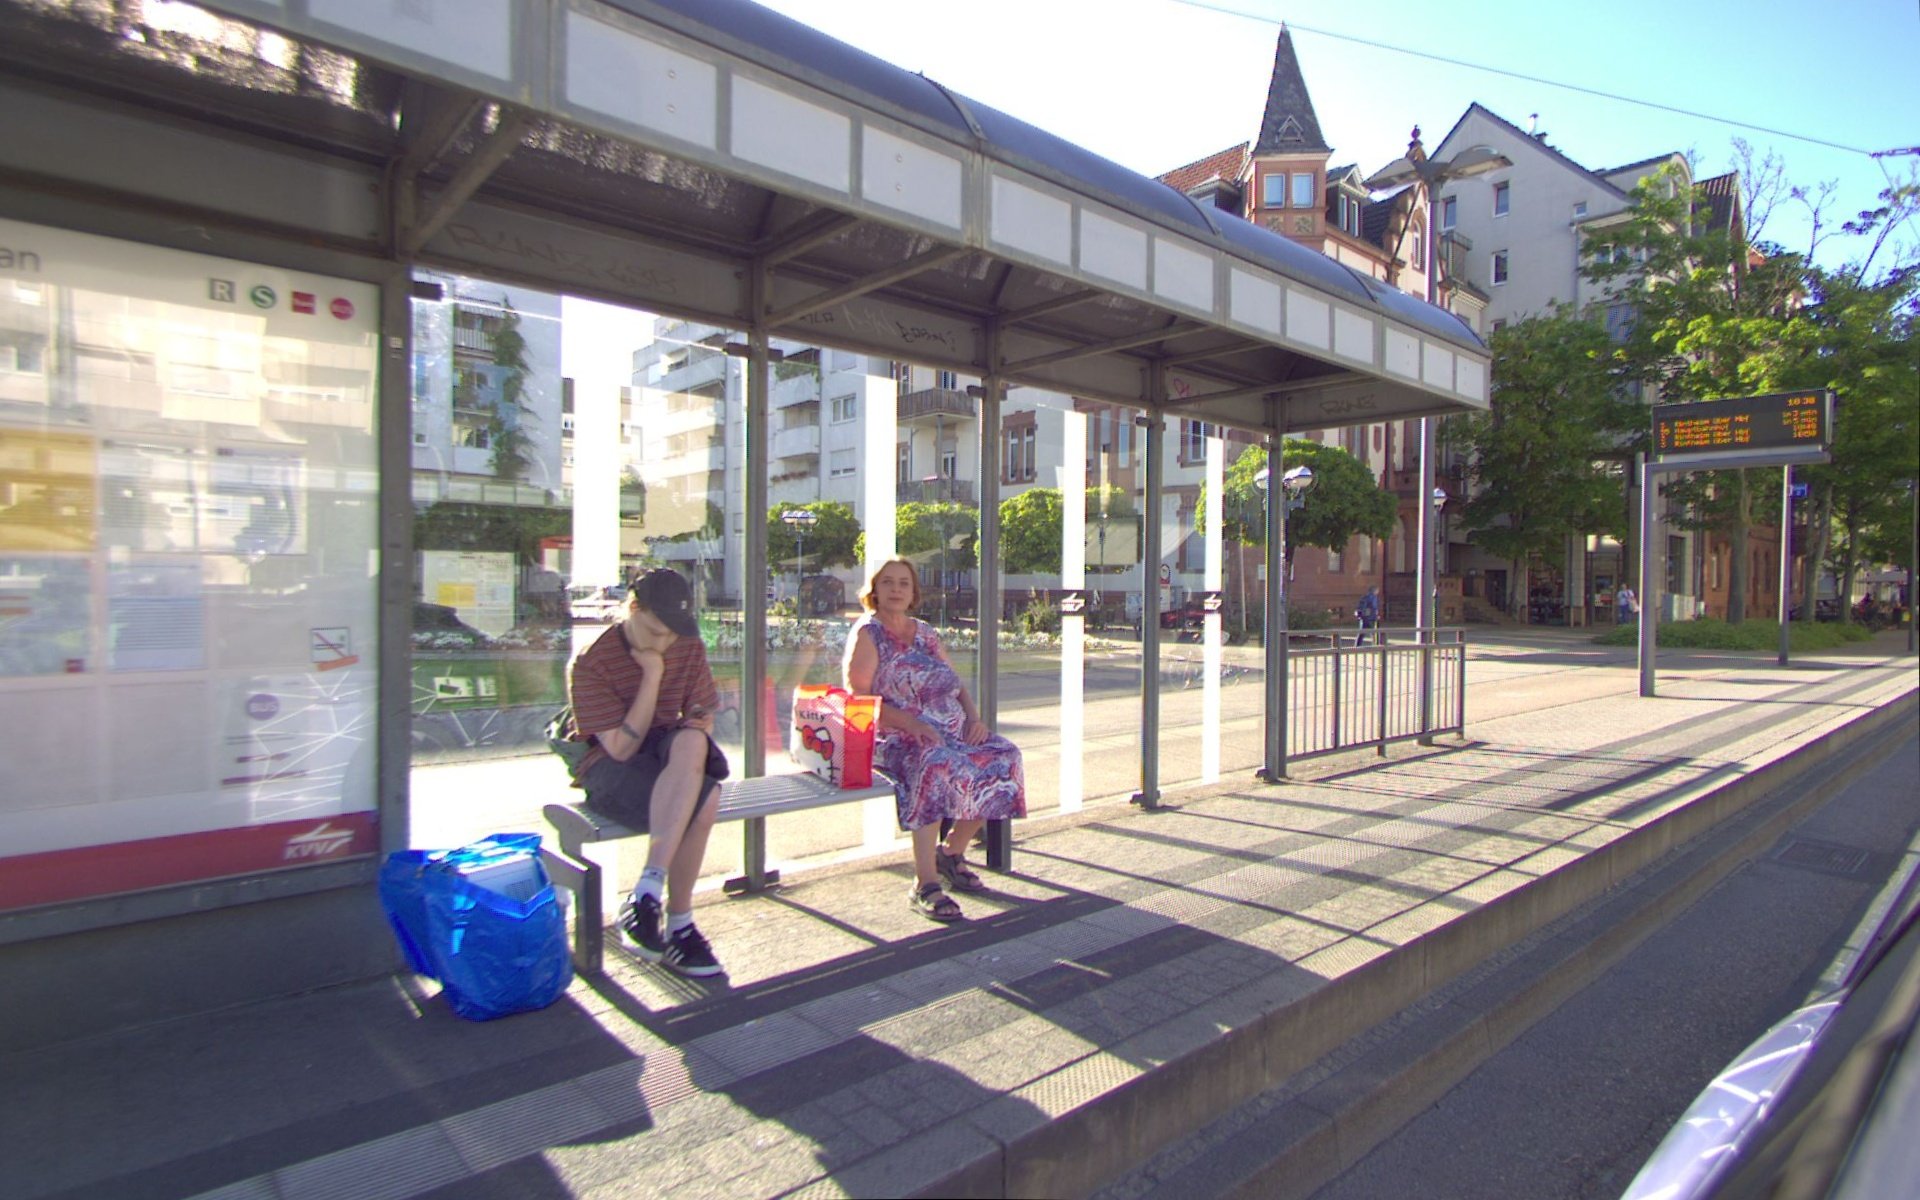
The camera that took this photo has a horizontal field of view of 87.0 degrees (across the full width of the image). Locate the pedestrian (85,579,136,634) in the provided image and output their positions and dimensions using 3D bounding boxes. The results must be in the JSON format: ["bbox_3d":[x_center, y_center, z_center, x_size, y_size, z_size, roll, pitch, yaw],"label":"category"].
[{"bbox_3d":[-20.432,0.139,24.337,0.737,1.287,0.725,1,1,29],"label":"pedestrian"}]

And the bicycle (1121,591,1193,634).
[{"bbox_3d":[5.587,0.326,28.558,0.786,1.081,2.767,1,3,40],"label":"bicycle"}]

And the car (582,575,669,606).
[{"bbox_3d":[-17.268,-0.496,52.283,3.923,1.536,2.001,0,1,-34],"label":"car"}]

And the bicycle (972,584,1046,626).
[{"bbox_3d":[1.715,0.152,35.257,2.864,1.389,0.745,0,1,-41],"label":"bicycle"}]

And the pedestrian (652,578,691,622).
[{"bbox_3d":[-9.564,-0.016,33.548,0.917,1.429,1.529,0,1,-30],"label":"pedestrian"}]

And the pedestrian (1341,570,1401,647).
[{"bbox_3d":[9.391,0.175,23.119,1.064,1.689,0.944,1,1,37],"label":"pedestrian"}]

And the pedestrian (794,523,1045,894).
[{"bbox_3d":[-0.187,0.403,4.221,0.612,1.351,0.860,-1,-2,-40],"label":"pedestrian"}]

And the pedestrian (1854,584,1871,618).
[{"bbox_3d":[55.571,0.061,62.308,0.549,2.039,0.654,0,0,-38],"label":"pedestrian"}]

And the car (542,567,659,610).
[{"bbox_3d":[-22.255,-0.721,62.853,2.806,2.587,6.295,1,1,44],"label":"car"}]

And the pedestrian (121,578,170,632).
[{"bbox_3d":[-20.100,0.111,24.982,0.737,1.287,0.725,1,1,29],"label":"pedestrian"}]

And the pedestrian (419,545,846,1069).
[{"bbox_3d":[-1.021,0.498,3.086,0.907,1.241,1.000,-1,-2,-40],"label":"pedestrian"}]

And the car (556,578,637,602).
[{"bbox_3d":[-20.253,-0.547,56.440,3.923,1.304,2.001,0,1,-34],"label":"car"}]

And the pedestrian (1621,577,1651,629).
[{"bbox_3d":[23.037,0.099,34.478,0.740,1.757,0.864,1,1,43],"label":"pedestrian"}]
